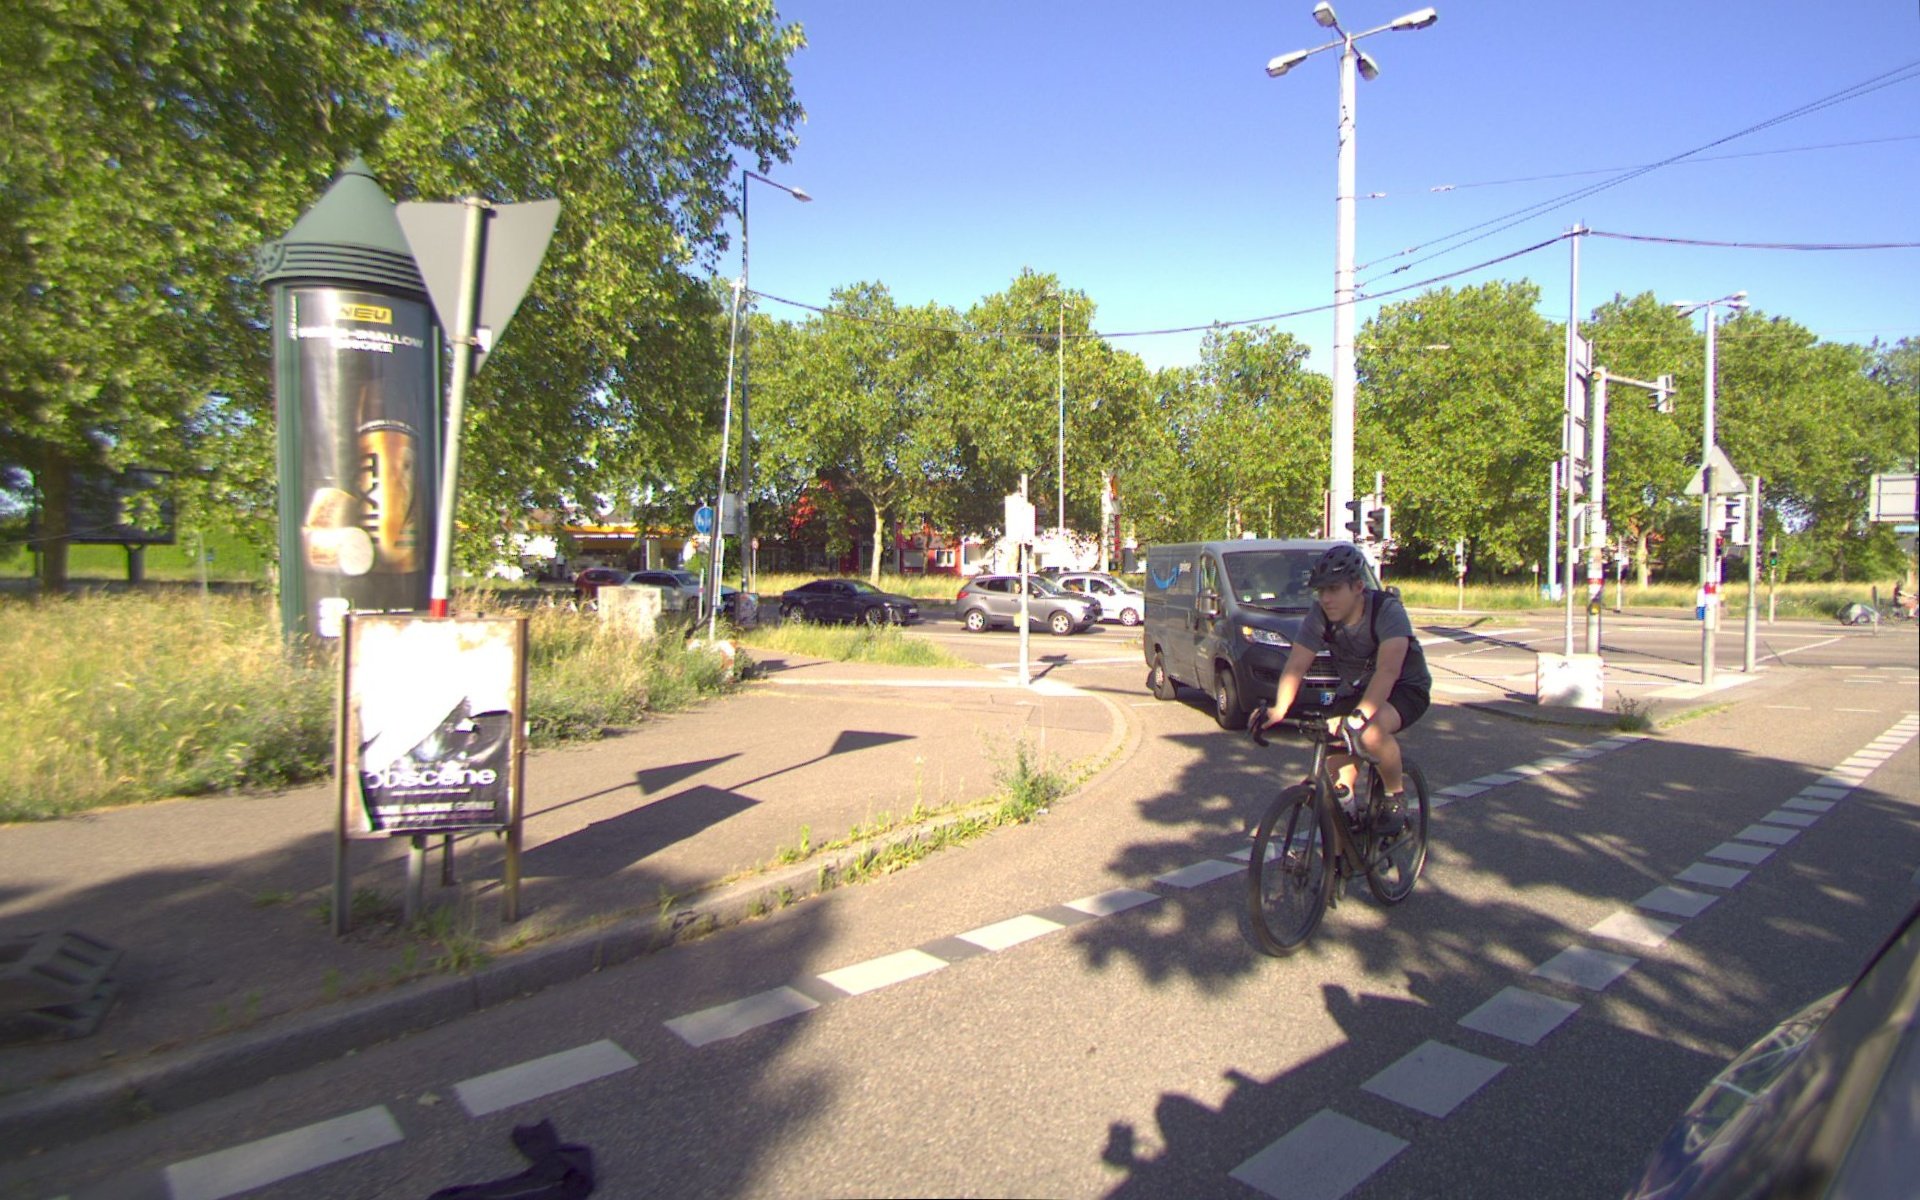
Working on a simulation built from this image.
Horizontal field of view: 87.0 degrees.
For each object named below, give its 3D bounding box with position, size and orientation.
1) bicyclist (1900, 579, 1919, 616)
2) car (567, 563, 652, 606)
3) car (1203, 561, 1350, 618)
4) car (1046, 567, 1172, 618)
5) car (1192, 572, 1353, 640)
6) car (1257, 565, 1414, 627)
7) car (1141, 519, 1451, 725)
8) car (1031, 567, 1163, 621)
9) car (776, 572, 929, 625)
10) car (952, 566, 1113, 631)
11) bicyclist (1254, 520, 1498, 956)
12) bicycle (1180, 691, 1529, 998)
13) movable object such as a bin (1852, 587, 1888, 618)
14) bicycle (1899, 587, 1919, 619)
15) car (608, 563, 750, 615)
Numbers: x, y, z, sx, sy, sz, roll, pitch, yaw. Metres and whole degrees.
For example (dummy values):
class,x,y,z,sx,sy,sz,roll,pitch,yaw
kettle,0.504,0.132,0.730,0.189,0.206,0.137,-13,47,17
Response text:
class,x,y,z,sx,sy,sz,roll,pitch,yaw
bicyclist,34.992,-0.095,37.277,0.509,1.357,0.556,2,2,42
car,-14.336,-0.662,41.393,3.173,1.635,1.363,1,5,24
car,10.419,-0.392,33.324,4.446,1.732,1.906,1,3,24
car,5.200,-0.297,35.314,3.957,1.638,1.984,1,2,24
car,8.052,0.093,26.075,3.817,1.620,1.700,1,2,24
car,10.800,-0.161,29.131,4.051,1.620,1.800,2,2,28
car,3.879,0.138,12.866,2.089,2.096,5.123,0,2,-2
car,4.354,-0.235,32.278,3.823,1.620,1.697,1,2,28
car,-3.420,-0.093,32.210,4.519,1.424,1.921,1,5,24
car,2.079,-0.090,29.052,4.229,1.699,1.920,1,2,24
bicyclist,1.837,0.519,4.461,0.917,1.700,0.616,-1,2,-40
bicycle,1.879,0.994,4.636,2.051,0.934,0.525,-2,3,-39
movable object such as a bin,33.724,0.083,37.514,1.295,1.081,0.909,-2,3,-45
bicycle,35.433,0.089,37.697,1.789,1.132,0.467,-1,2,-42
car,-9.861,-0.391,35.488,4.725,1.703,1.894,0,2,25
